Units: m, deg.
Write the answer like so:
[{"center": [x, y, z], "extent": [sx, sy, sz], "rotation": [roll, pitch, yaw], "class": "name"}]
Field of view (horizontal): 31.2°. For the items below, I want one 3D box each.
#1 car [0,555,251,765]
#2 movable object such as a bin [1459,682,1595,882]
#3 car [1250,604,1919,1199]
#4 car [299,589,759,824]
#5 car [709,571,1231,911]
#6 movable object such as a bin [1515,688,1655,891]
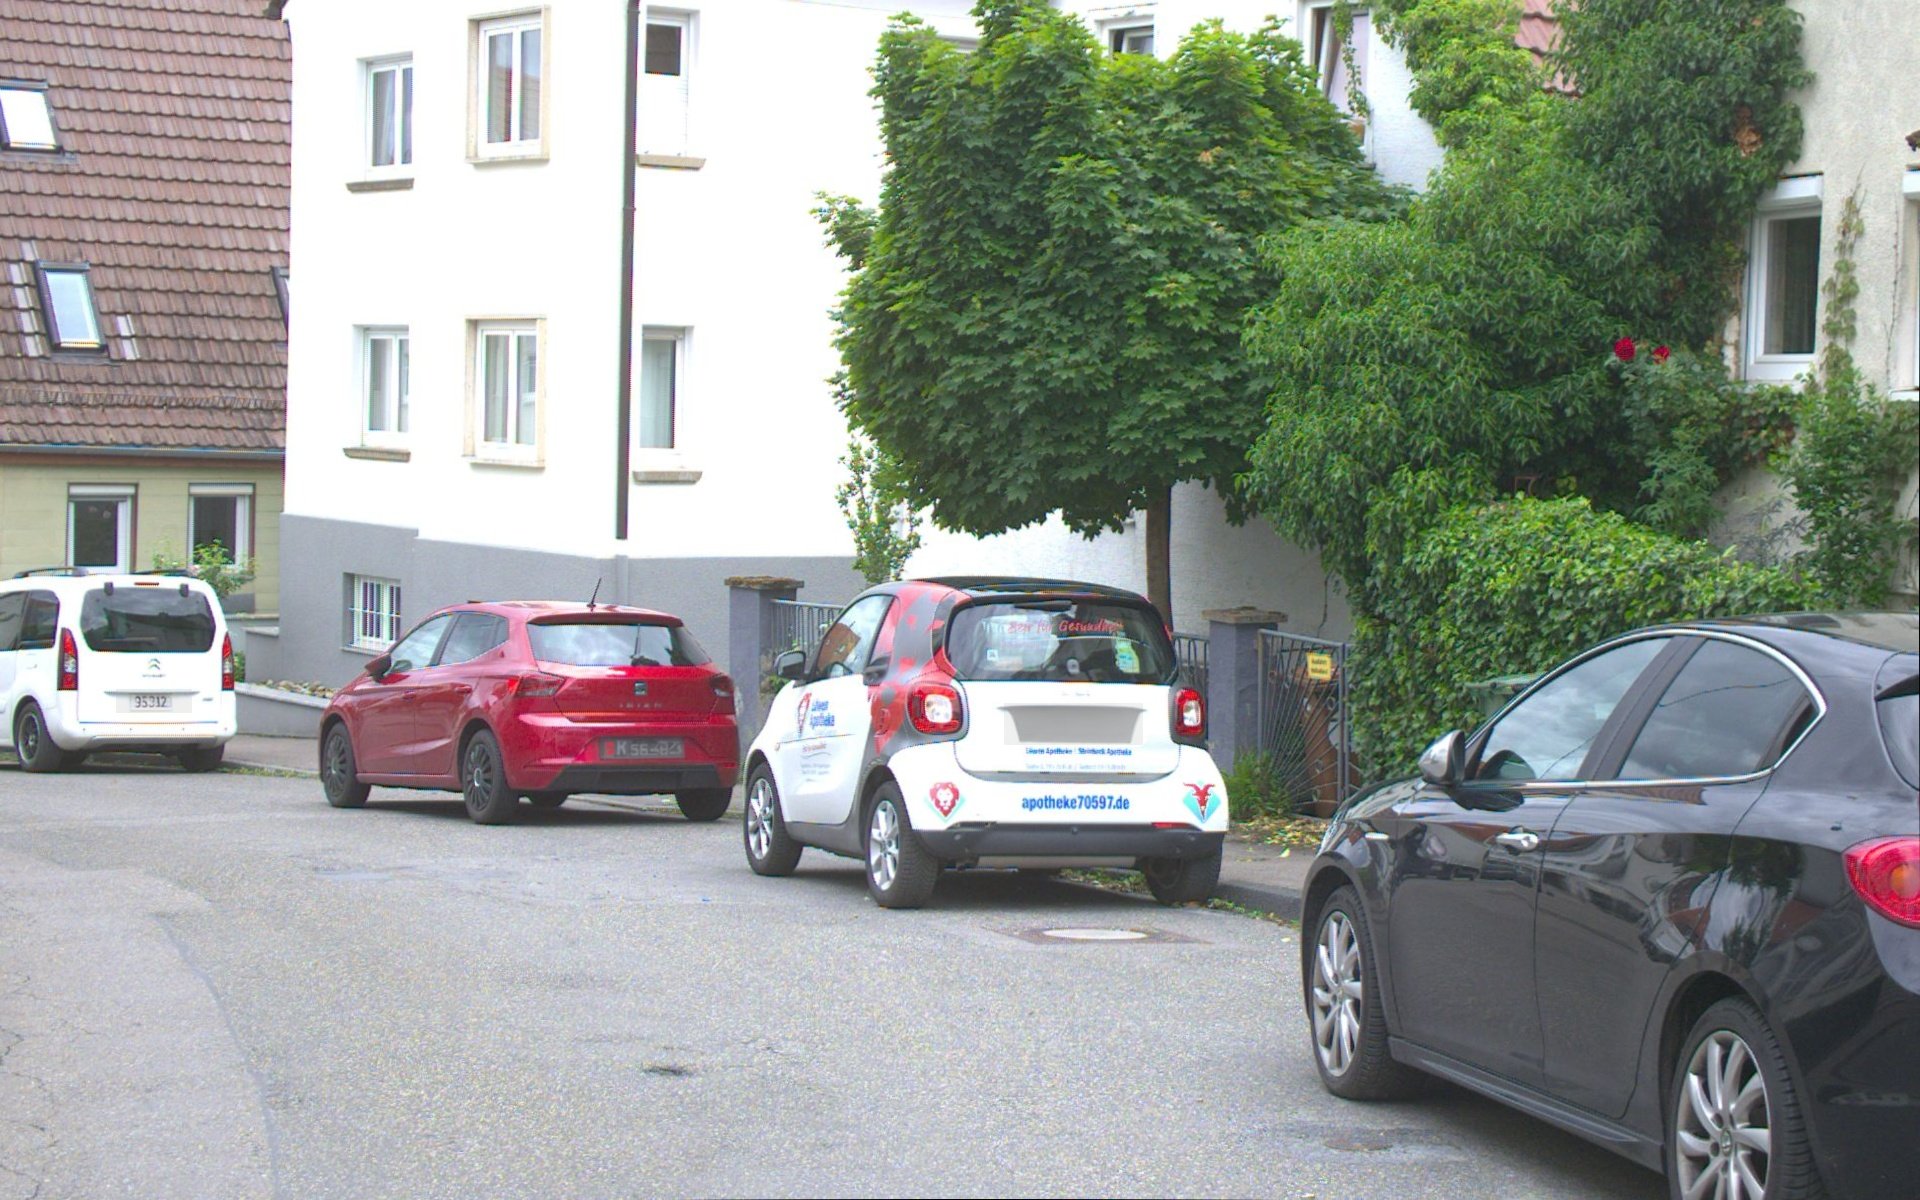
[{"center": [-8.413, 0.550, 31.861], "extent": [1.835, 1.808, 4.302], "rotation": [1, -1, -39], "class": "car"}, {"center": [2.706, 0.861, 16.419], "extent": [0.438, 0.910, 0.446], "rotation": [-3, 0, -16], "class": "movable object such as a bin"}, {"center": [2.159, 0.771, 8.633], "extent": [1.717, 1.402, 4.004], "rotation": [2, 1, -12], "class": "car"}, {"center": [-3.002, 0.686, 23.274], "extent": [1.679, 1.447, 3.852], "rotation": [1, -1, -31], "class": "car"}, {"center": [-0.030, 0.656, 17.065], "extent": [1.611, 1.527, 2.898], "rotation": [2, -1, -21], "class": "car"}, {"center": [2.895, 0.870, 15.951], "extent": [0.438, 0.895, 0.446], "rotation": [-3, 0, -16], "class": "movable object such as a bin"}]
